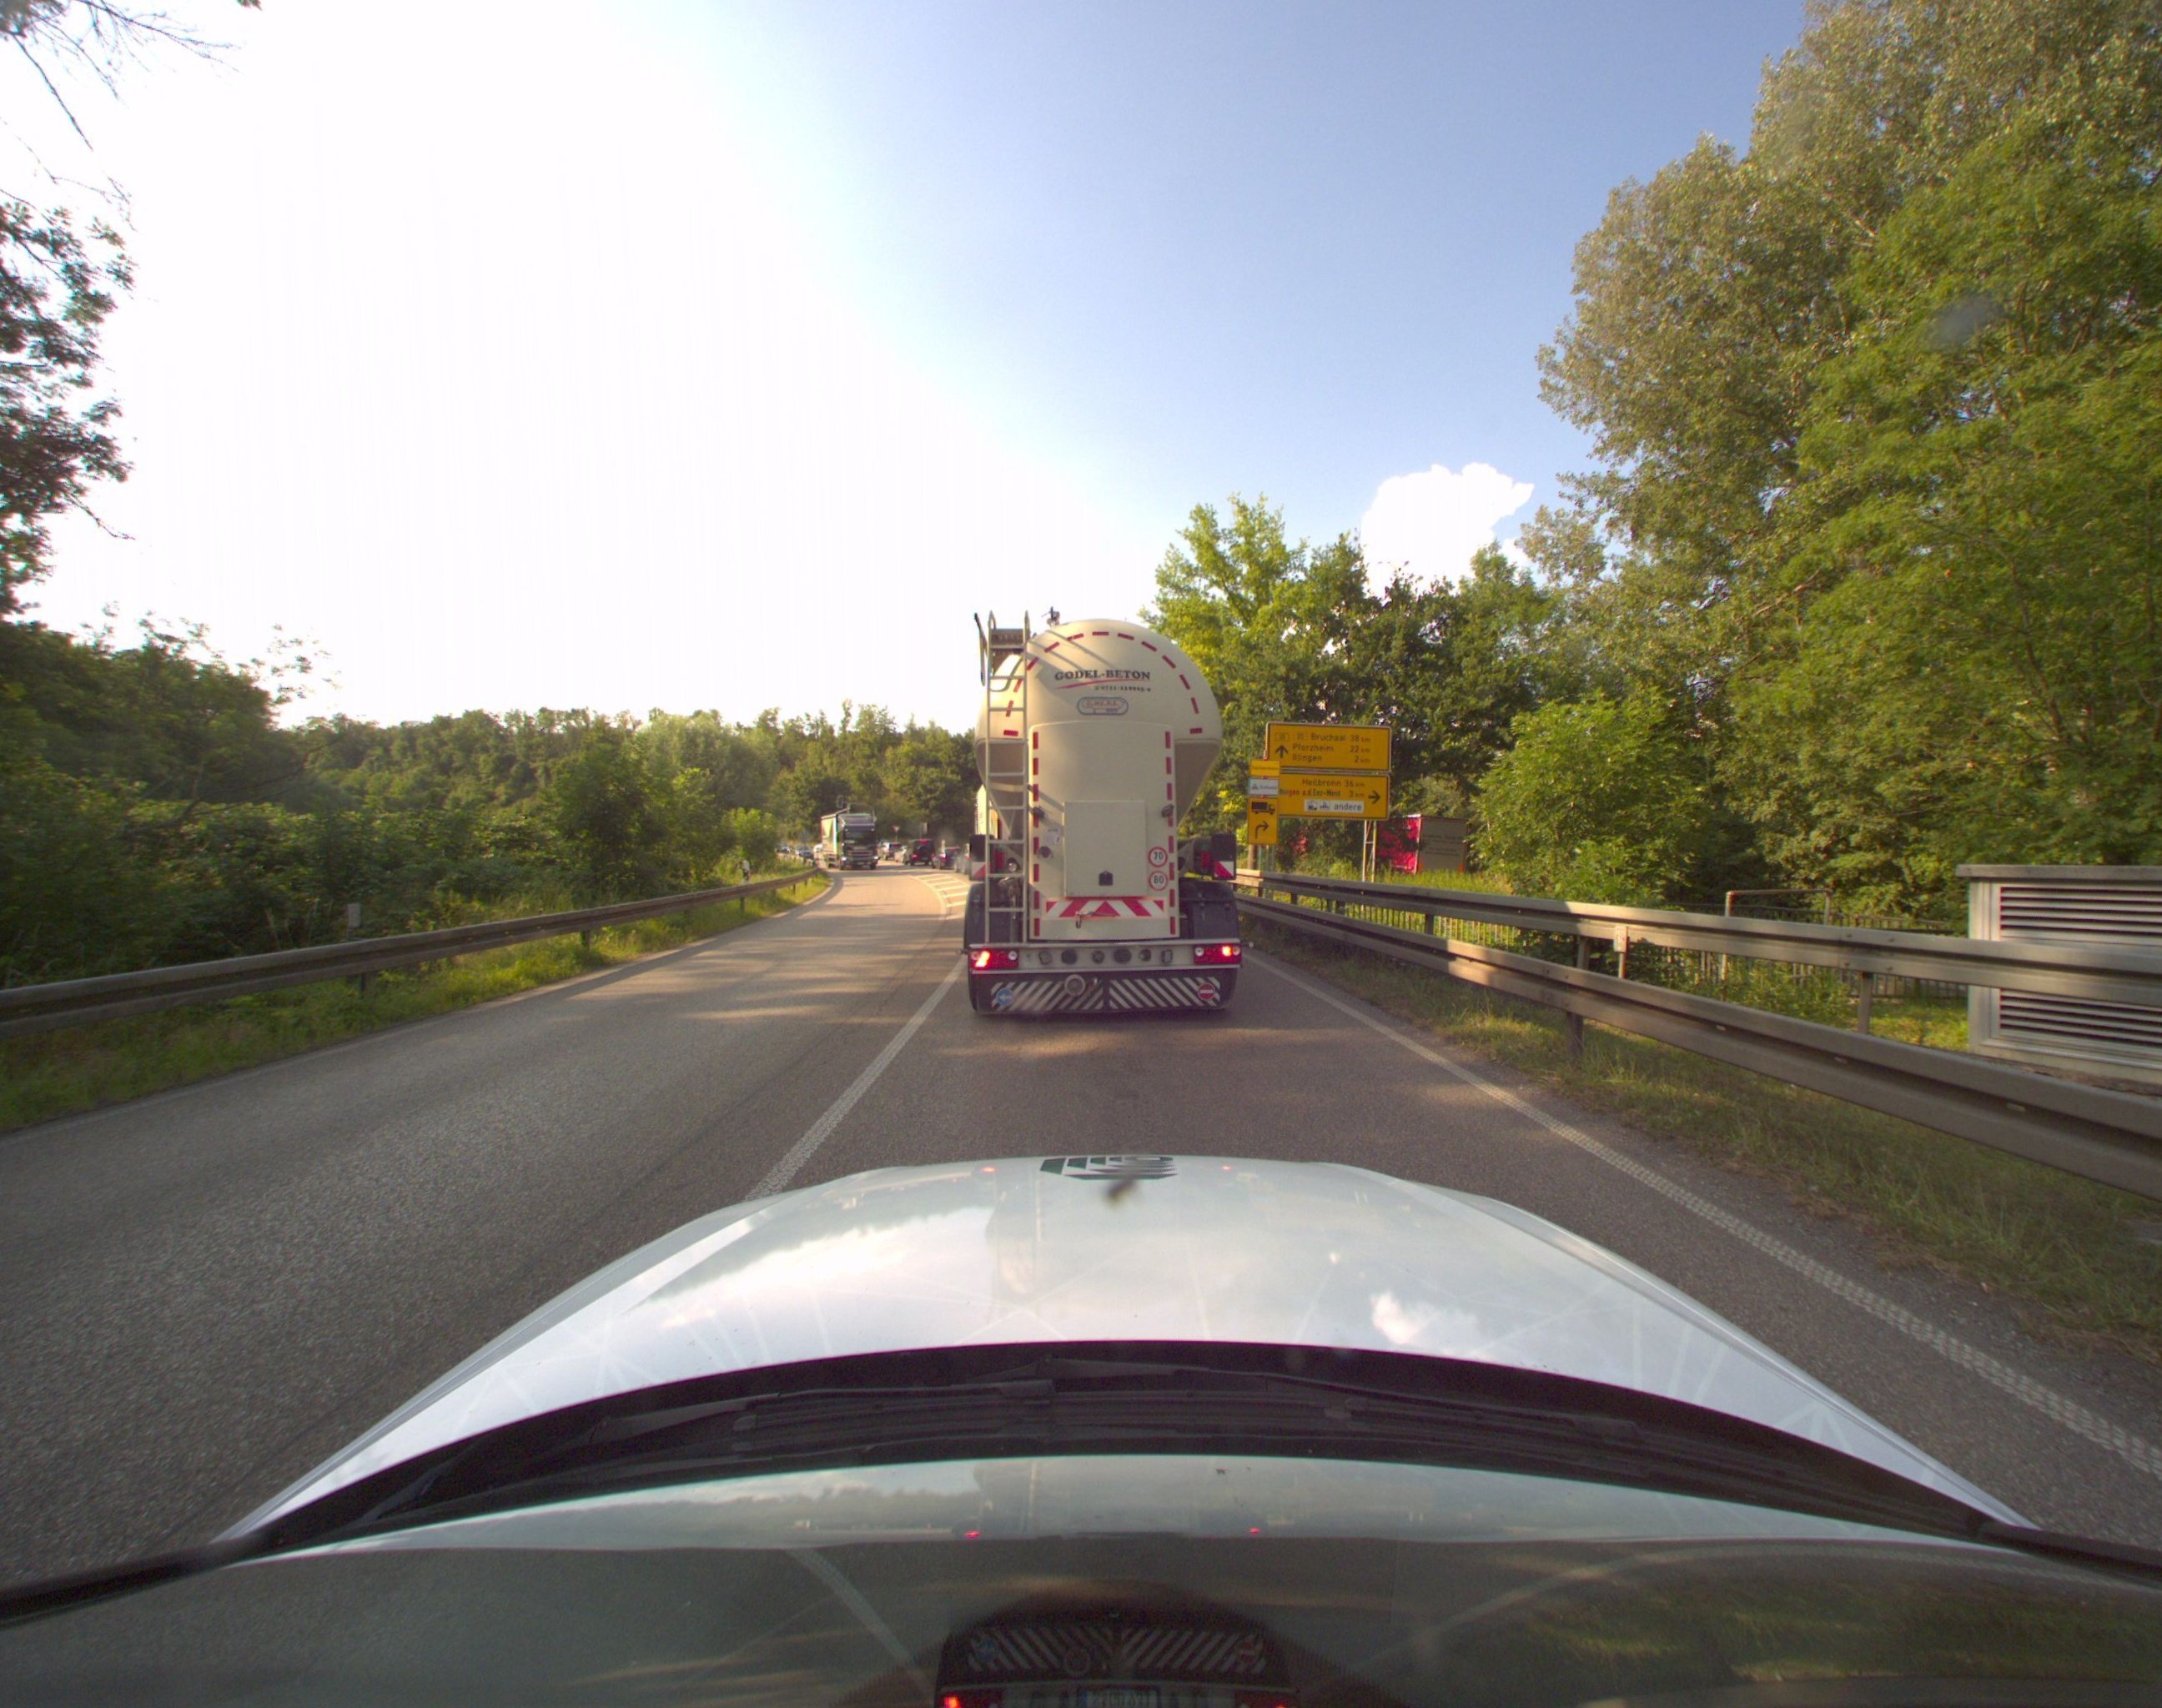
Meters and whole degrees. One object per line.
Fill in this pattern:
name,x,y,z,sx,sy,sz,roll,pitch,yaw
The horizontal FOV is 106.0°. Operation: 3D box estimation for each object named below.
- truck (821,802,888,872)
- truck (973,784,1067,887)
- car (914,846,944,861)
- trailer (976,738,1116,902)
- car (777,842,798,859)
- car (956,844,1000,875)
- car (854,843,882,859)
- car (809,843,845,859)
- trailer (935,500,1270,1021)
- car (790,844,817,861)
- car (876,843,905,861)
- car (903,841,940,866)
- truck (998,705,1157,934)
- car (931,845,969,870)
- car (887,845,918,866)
truck,-16.520,-1.091,58.845,3.027,4.585,10.155,0,0,-25
truck,-2.848,-0.709,35.847,3.451,4.086,6.468,1,0,-10
car,-20.967,-0.065,112.190,3.989,1.851,1.866,1,0,-12
trailer,-1.774,-0.902,29.129,3.545,4.513,12.943,1,0,-9
car,-32.382,-0.396,89.782,1.876,1.851,3.969,1,0,-23
car,-5.904,0.273,46.239,1.872,1.628,3.978,-2,1,-16
car,-21.843,-0.319,83.422,1.878,1.565,3.965,2,0,-27
car,-32.533,-0.371,104.376,1.850,1.851,4.025,1,0,32
trailer,0.017,-0.805,11.828,2.879,4.454,9.597,0,0,-2
car,-27.358,-0.186,80.213,1.878,1.556,3.965,1,0,-27
car,-17.788,-0.181,76.039,1.876,1.595,3.968,2,0,-25
car,-12.382,-0.078,62.960,1.966,1.851,3.968,-2,1,-24
truck,-0.283,-0.622,17.441,2.819,4.035,5.884,0,0,-5
car,-8.774,0.225,54.272,1.873,1.564,3.974,-2,1,-19
car,-15.705,0.111,71.554,1.877,1.683,3.967,1,0,-25
